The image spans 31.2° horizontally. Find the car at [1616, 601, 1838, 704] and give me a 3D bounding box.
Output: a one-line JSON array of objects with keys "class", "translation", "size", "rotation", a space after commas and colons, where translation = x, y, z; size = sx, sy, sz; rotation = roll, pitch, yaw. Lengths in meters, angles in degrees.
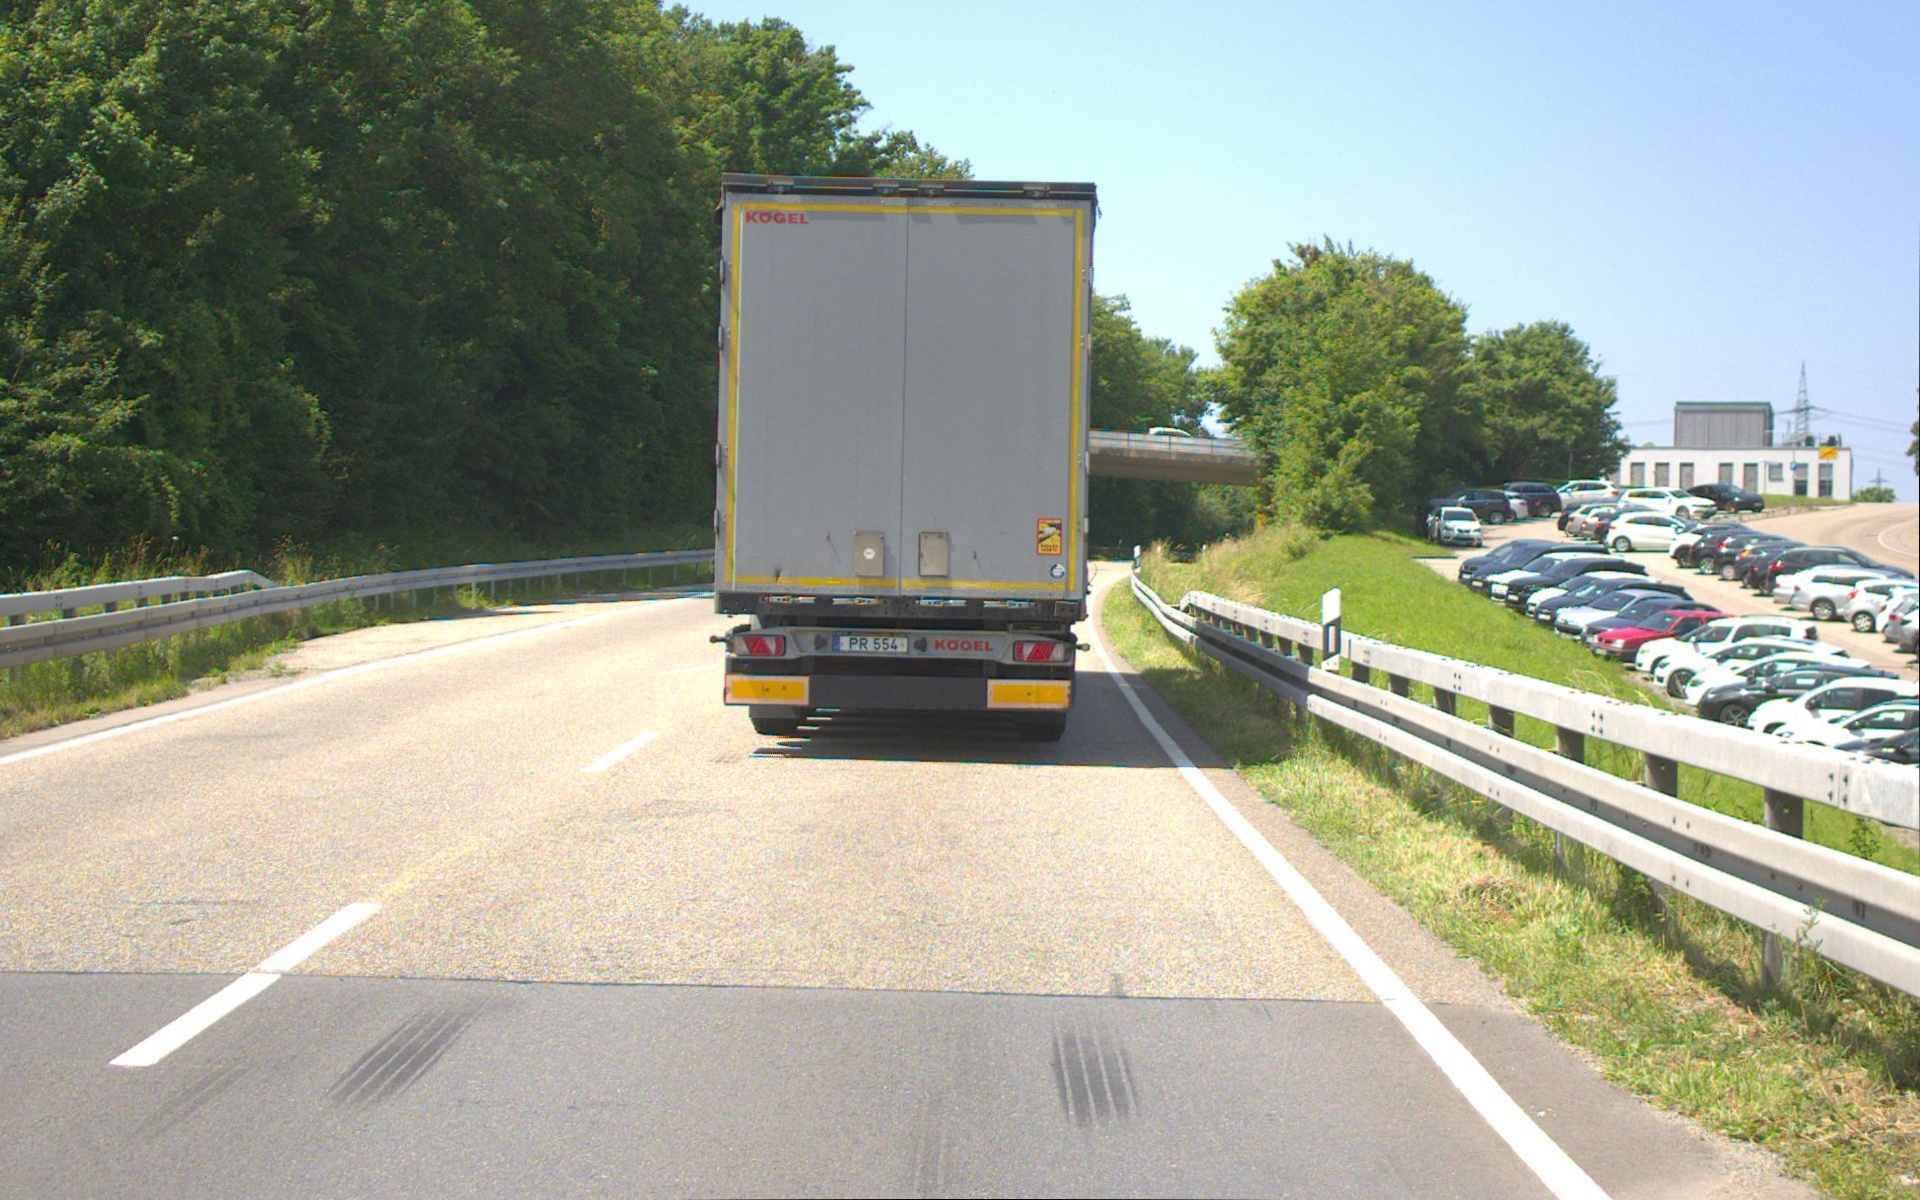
[{"class": "car", "translation": [17.365, 1.169, 77.858], "size": [4.452, 1.679, 1.886], "rotation": [8, 4, 24]}]

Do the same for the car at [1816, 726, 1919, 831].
[{"class": "car", "translation": [16.555, 3.122, 56.476], "size": [4.371, 1.389, 1.816], "rotation": [9, 4, 29]}]

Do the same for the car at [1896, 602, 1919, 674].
[{"class": "car", "translation": [25.555, 1.042, 84.516], "size": [4.579, 1.623, 1.818], "rotation": [4, 5, 28]}]

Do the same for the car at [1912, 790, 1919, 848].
[{"class": "car", "translation": [17.175, 3.372, 53.564], "size": [4.119, 1.512, 1.677], "rotation": [8, 4, 25]}]

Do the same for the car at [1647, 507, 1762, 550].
[{"class": "car", "translation": [33.431, -3.226, 154.434], "size": [4.582, 1.623, 1.816], "rotation": [5, 2, 37]}]

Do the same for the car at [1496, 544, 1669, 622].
[{"class": "car", "translation": [17.553, -0.472, 96.958], "size": [4.362, 1.679, 1.889], "rotation": [5, 4, -26]}]

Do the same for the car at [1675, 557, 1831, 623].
[{"class": "car", "translation": [26.450, -0.354, 114.714], "size": [4.580, 1.623, 1.818], "rotation": [9, 4, 29]}]

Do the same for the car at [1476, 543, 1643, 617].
[{"class": "car", "translation": [17.492, -0.581, 100.310], "size": [4.362, 1.679, 1.889], "rotation": [5, 4, -26]}]

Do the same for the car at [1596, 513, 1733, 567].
[{"class": "car", "translation": [25.996, -2.221, 126.836], "size": [4.578, 1.623, 1.818], "rotation": [5, 3, 23]}]

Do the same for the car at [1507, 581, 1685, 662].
[{"class": "car", "translation": [16.694, 0.560, 90.225], "size": [4.363, 1.679, 1.889], "rotation": [4, 5, -35]}]

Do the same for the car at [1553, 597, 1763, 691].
[{"class": "car", "translation": [16.490, 1.048, 81.239], "size": [4.361, 1.679, 1.889], "rotation": [5, 4, -20]}]

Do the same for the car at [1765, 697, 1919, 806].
[{"class": "car", "translation": [16.592, 2.758, 60.240], "size": [4.371, 1.451, 1.816], "rotation": [9, 4, 29]}]

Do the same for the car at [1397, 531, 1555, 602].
[{"class": "car", "translation": [15.937, -1.027, 106.265], "size": [4.362, 1.679, 1.889], "rotation": [5, 4, -26]}]

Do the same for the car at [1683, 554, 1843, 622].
[{"class": "car", "translation": [26.107, -0.406, 111.803], "size": [4.580, 1.623, 1.818], "rotation": [9, 4, 29]}]

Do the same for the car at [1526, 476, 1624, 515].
[{"class": "car", "translation": [30.267, -5.152, 169.137], "size": [4.362, 1.679, 1.889], "rotation": [1, 6, -26]}]

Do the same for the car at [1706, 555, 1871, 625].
[{"class": "car", "translation": [26.065, -0.329, 108.184], "size": [4.580, 1.623, 1.818], "rotation": [9, 4, 29]}]

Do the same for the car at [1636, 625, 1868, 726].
[{"class": "car", "translation": [17.181, 1.620, 74.634], "size": [4.372, 1.553, 1.885], "rotation": [9, 4, 31]}]

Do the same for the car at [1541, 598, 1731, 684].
[{"class": "car", "translation": [16.578, 1.007, 84.225], "size": [4.363, 1.679, 1.889], "rotation": [4, 5, -35]}]

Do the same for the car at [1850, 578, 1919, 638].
[{"class": "car", "translation": [26.690, 0.236, 93.363], "size": [4.578, 1.472, 1.818], "rotation": [1, 5, 28]}]

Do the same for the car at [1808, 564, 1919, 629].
[{"class": "car", "translation": [26.375, -0.069, 96.515], "size": [4.581, 1.514, 1.817], "rotation": [4, 7, 33]}]

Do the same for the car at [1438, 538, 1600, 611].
[{"class": "car", "translation": [16.797, -0.765, 103.347], "size": [4.362, 1.679, 1.889], "rotation": [5, 4, -26]}]

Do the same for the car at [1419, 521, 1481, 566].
[{"class": "car", "translation": [18.803, -2.191, 132.012], "size": [1.624, 1.349, 3.711], "rotation": [6, 4, -2]}]

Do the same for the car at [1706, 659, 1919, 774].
[{"class": "car", "translation": [16.758, 2.230, 65.859], "size": [4.370, 1.553, 1.859], "rotation": [8, 4, 26]}]

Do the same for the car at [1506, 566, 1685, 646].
[{"class": "car", "translation": [17.332, 0.163, 93.693], "size": [4.362, 1.679, 1.889], "rotation": [5, 4, -26]}]

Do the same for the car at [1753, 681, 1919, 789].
[{"class": "car", "translation": [16.925, 2.537, 62.719], "size": [4.370, 1.451, 1.816], "rotation": [8, 4, 26]}]

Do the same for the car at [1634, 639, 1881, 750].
[{"class": "car", "translation": [16.014, 1.864, 69.049], "size": [4.370, 1.553, 1.885], "rotation": [8, 4, 26]}]

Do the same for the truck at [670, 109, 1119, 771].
[{"class": "truck", "translation": [-0.465, -1.206, 28.019], "size": [2.866, 4.344, 9.790], "rotation": [2, 2, 0]}]

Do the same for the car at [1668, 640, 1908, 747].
[{"class": "car", "translation": [17.143, 1.909, 71.187], "size": [4.370, 1.553, 1.885], "rotation": [8, 4, 26]}]

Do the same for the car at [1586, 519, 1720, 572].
[{"class": "car", "translation": [26.128, -2.063, 129.676], "size": [4.578, 1.623, 1.818], "rotation": [6, 3, 23]}]

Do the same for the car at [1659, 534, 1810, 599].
[{"class": "car", "translation": [26.524, -1.151, 117.793], "size": [4.580, 1.623, 1.818], "rotation": [9, 4, 29]}]

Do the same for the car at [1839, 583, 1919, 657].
[{"class": "car", "translation": [25.768, 0.616, 90.825], "size": [4.579, 1.622, 1.818], "rotation": [5, 8, 28]}]

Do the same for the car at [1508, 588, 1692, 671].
[{"class": "car", "translation": [16.207, 0.755, 86.980], "size": [4.363, 1.679, 1.889], "rotation": [4, 5, -35]}]

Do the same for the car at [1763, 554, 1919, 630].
[{"class": "car", "translation": [25.969, -0.241, 100.120], "size": [4.580, 1.623, 1.818], "rotation": [9, 4, 29]}]
